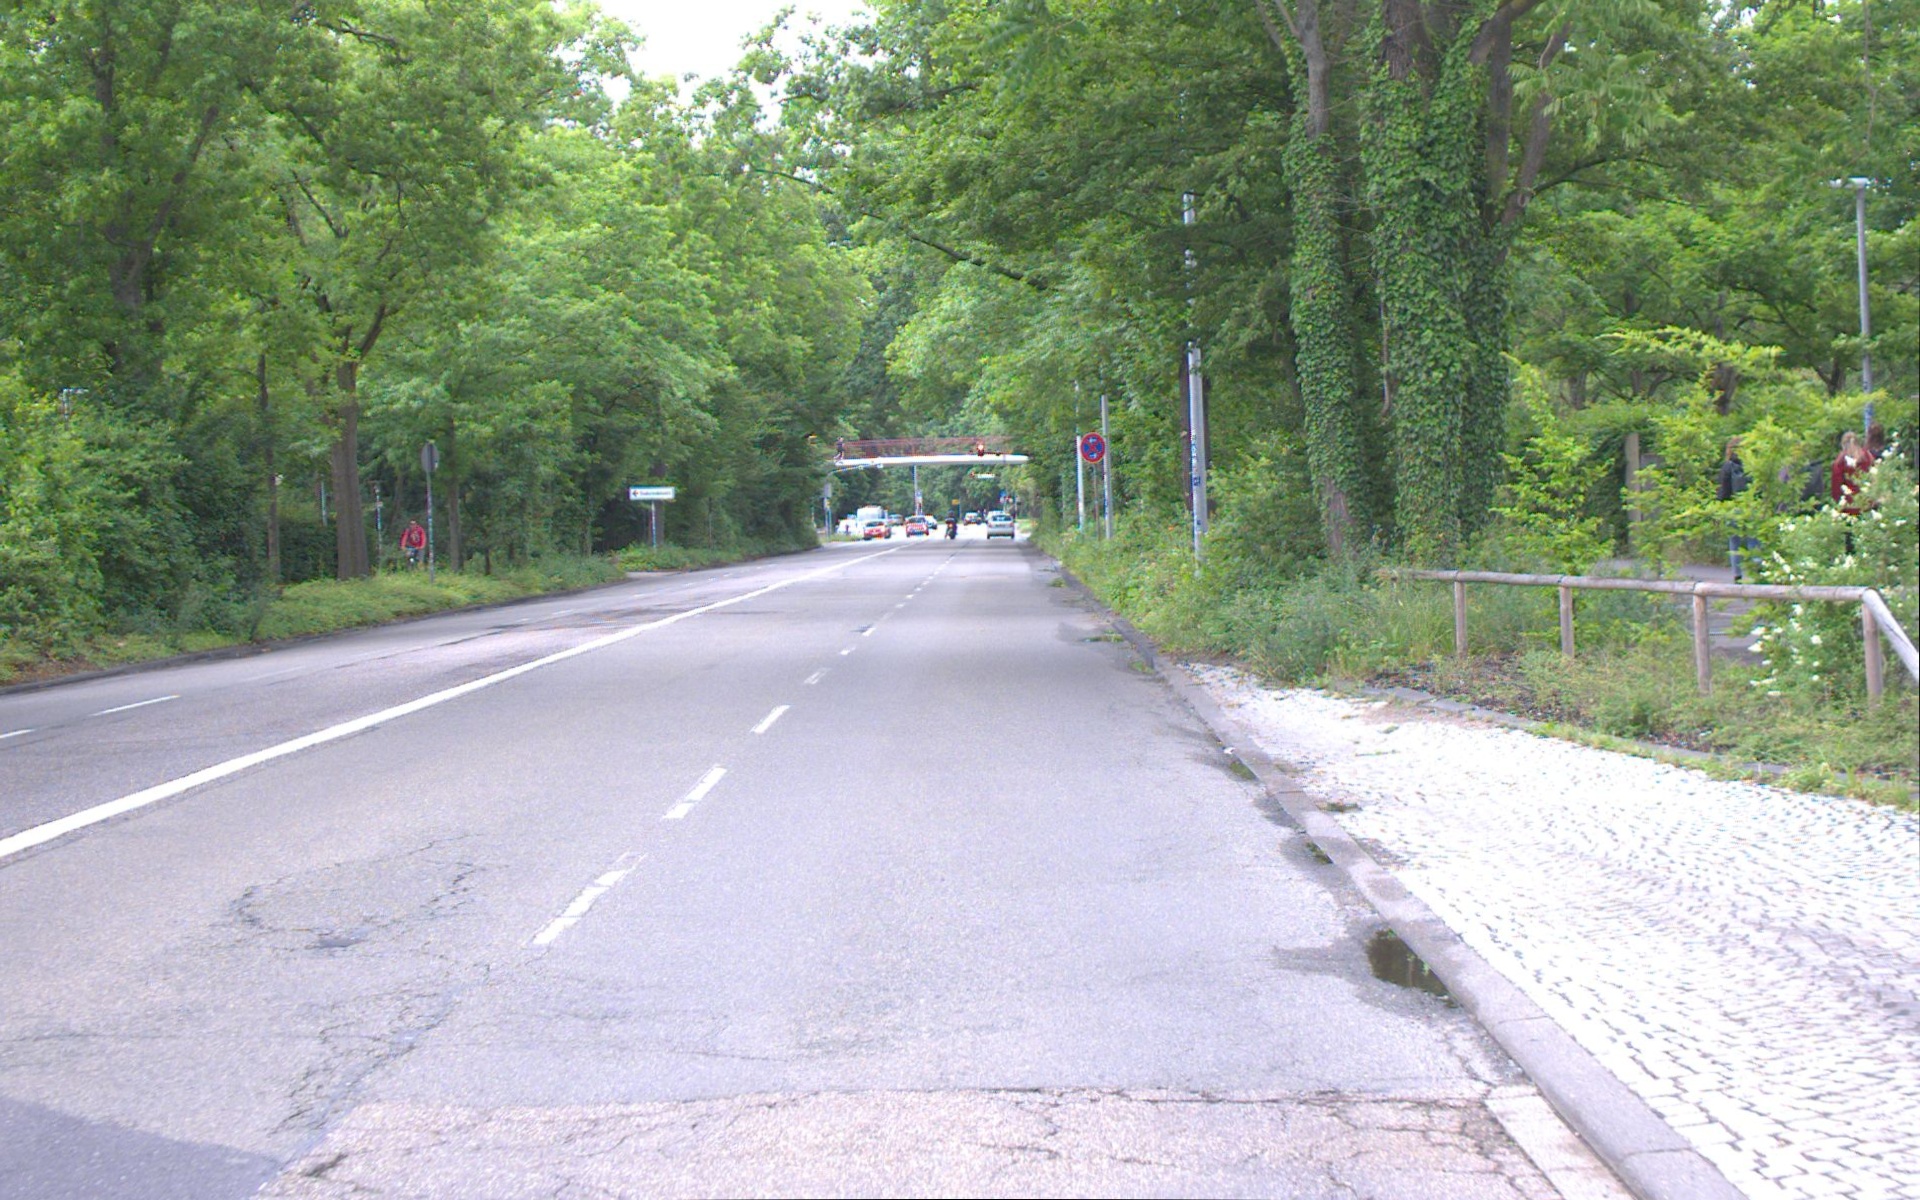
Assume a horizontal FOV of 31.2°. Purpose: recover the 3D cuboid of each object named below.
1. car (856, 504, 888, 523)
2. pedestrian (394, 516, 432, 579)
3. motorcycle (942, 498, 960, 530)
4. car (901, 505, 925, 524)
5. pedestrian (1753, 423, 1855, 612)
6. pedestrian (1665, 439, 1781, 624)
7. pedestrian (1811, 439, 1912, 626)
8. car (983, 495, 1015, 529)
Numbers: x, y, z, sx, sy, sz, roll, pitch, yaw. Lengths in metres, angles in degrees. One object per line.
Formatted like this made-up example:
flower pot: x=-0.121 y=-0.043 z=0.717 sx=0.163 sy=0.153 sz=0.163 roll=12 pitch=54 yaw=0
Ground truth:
car: x=-6.392 y=-6.287 z=250.844 sx=1.994 sy=1.349 sz=3.894 roll=-1 pitch=1 yaw=3
pedestrian: x=-14.109 y=-1.356 z=88.668 sx=0.792 sy=1.608 sz=0.848 roll=-1 pitch=1 yaw=1
motorcycle: x=-0.546 y=-5.178 z=207.707 sx=0.990 sy=1.929 sz=2.669 roll=-1 pitch=1 yaw=1
car: x=-3.433 y=-6.251 z=251.115 sx=1.674 sy=1.357 sz=3.921 roll=-1 pitch=1 yaw=0
pedestrian: x=9.309 y=-0.910 z=37.951 sx=0.824 sy=2.006 sz=0.720 roll=-4 pitch=1 yaw=0
pedestrian: x=8.557 y=-0.768 z=38.605 sx=0.925 sy=2.007 sz=1.040 roll=-3 pitch=1 yaw=-3
pedestrian: x=9.995 y=-0.749 z=38.141 sx=0.824 sy=2.007 sz=0.720 roll=-3 pitch=1 yaw=0
car: x=2.303 y=-5.228 z=204.066 sx=1.843 sy=2.007 sz=4.000 roll=-1 pitch=1 yaw=1
